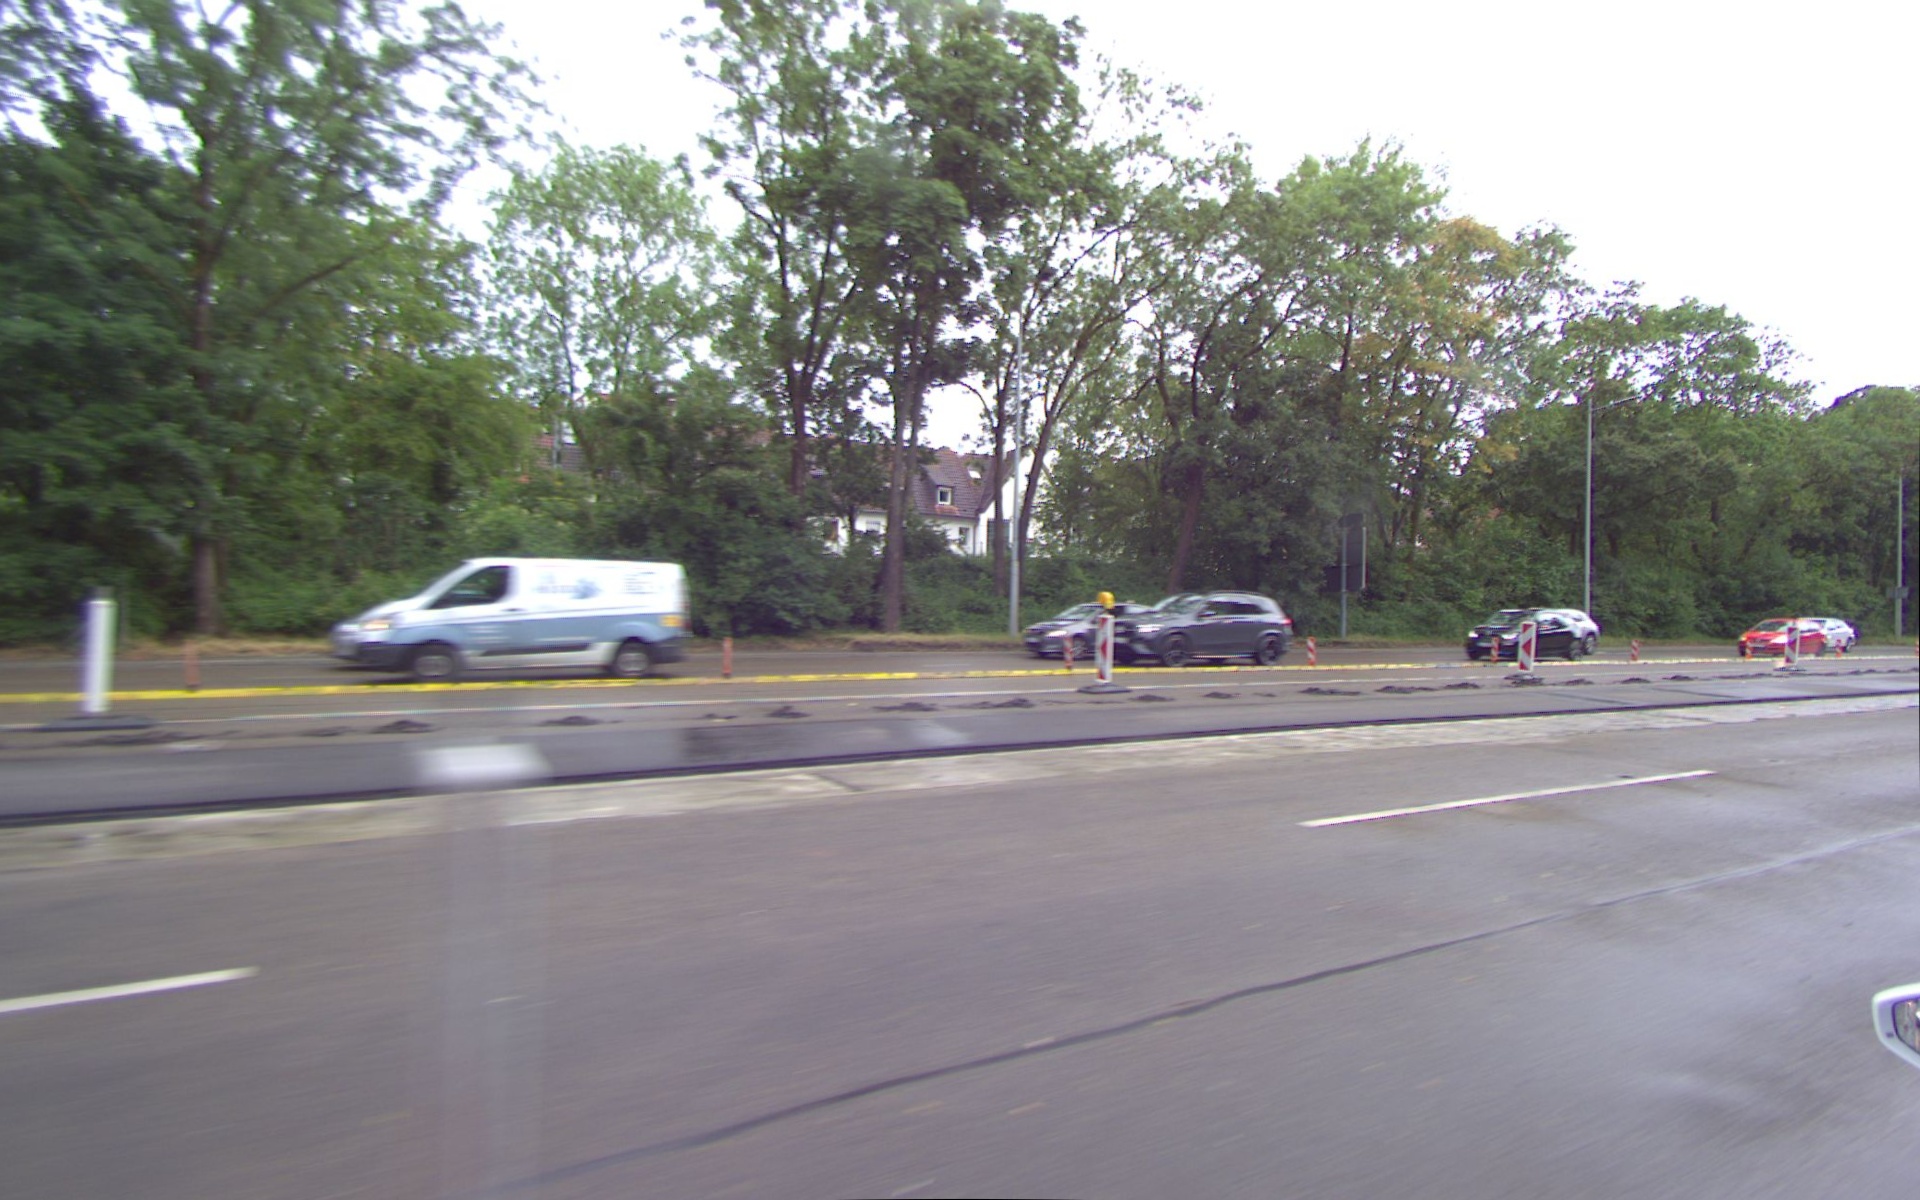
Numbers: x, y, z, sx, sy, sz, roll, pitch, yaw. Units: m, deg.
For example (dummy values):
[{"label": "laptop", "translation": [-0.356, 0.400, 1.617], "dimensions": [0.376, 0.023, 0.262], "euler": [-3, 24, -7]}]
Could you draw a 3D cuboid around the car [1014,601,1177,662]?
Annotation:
[{"label": "car", "translation": [3.488, 0.785, 25.722], "dimensions": [3.951, 1.439, 1.638], "euler": [1, 0, -29]}]

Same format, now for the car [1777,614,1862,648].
[{"label": "car", "translation": [39.569, 1.421, 46.241], "dimensions": [4.099, 1.516, 1.672], "euler": [1, -2, -30]}]

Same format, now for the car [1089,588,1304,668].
[{"label": "car", "translation": [5.689, 0.633, 24.030], "dimensions": [4.952, 1.748, 2.012], "euler": [1, 0, -30]}]

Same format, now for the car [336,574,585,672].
[{"label": "car", "translation": [-9.228, 0.422, 18.675], "dimensions": [3.954, 1.643, 1.818], "euler": [1, 0, -31]}]

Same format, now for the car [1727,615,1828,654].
[{"label": "car", "translation": [31.322, 1.309, 38.490], "dimensions": [3.964, 1.419, 1.671], "euler": [1, 0, -30]}]

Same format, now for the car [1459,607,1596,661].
[{"label": "car", "translation": [17.350, 1.019, 30.659], "dimensions": [4.147, 1.507, 1.768], "euler": [1, 0, -30]}]

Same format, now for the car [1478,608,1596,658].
[{"label": "car", "translation": [20.504, 1.156, 35.663], "dimensions": [4.367, 1.648, 1.694], "euler": [1, 0, -31]}]

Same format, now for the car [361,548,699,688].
[{"label": "car", "translation": [-6.961, 0.286, 16.493], "dimensions": [4.844, 1.998, 1.984], "euler": [1, 0, -30]}]
